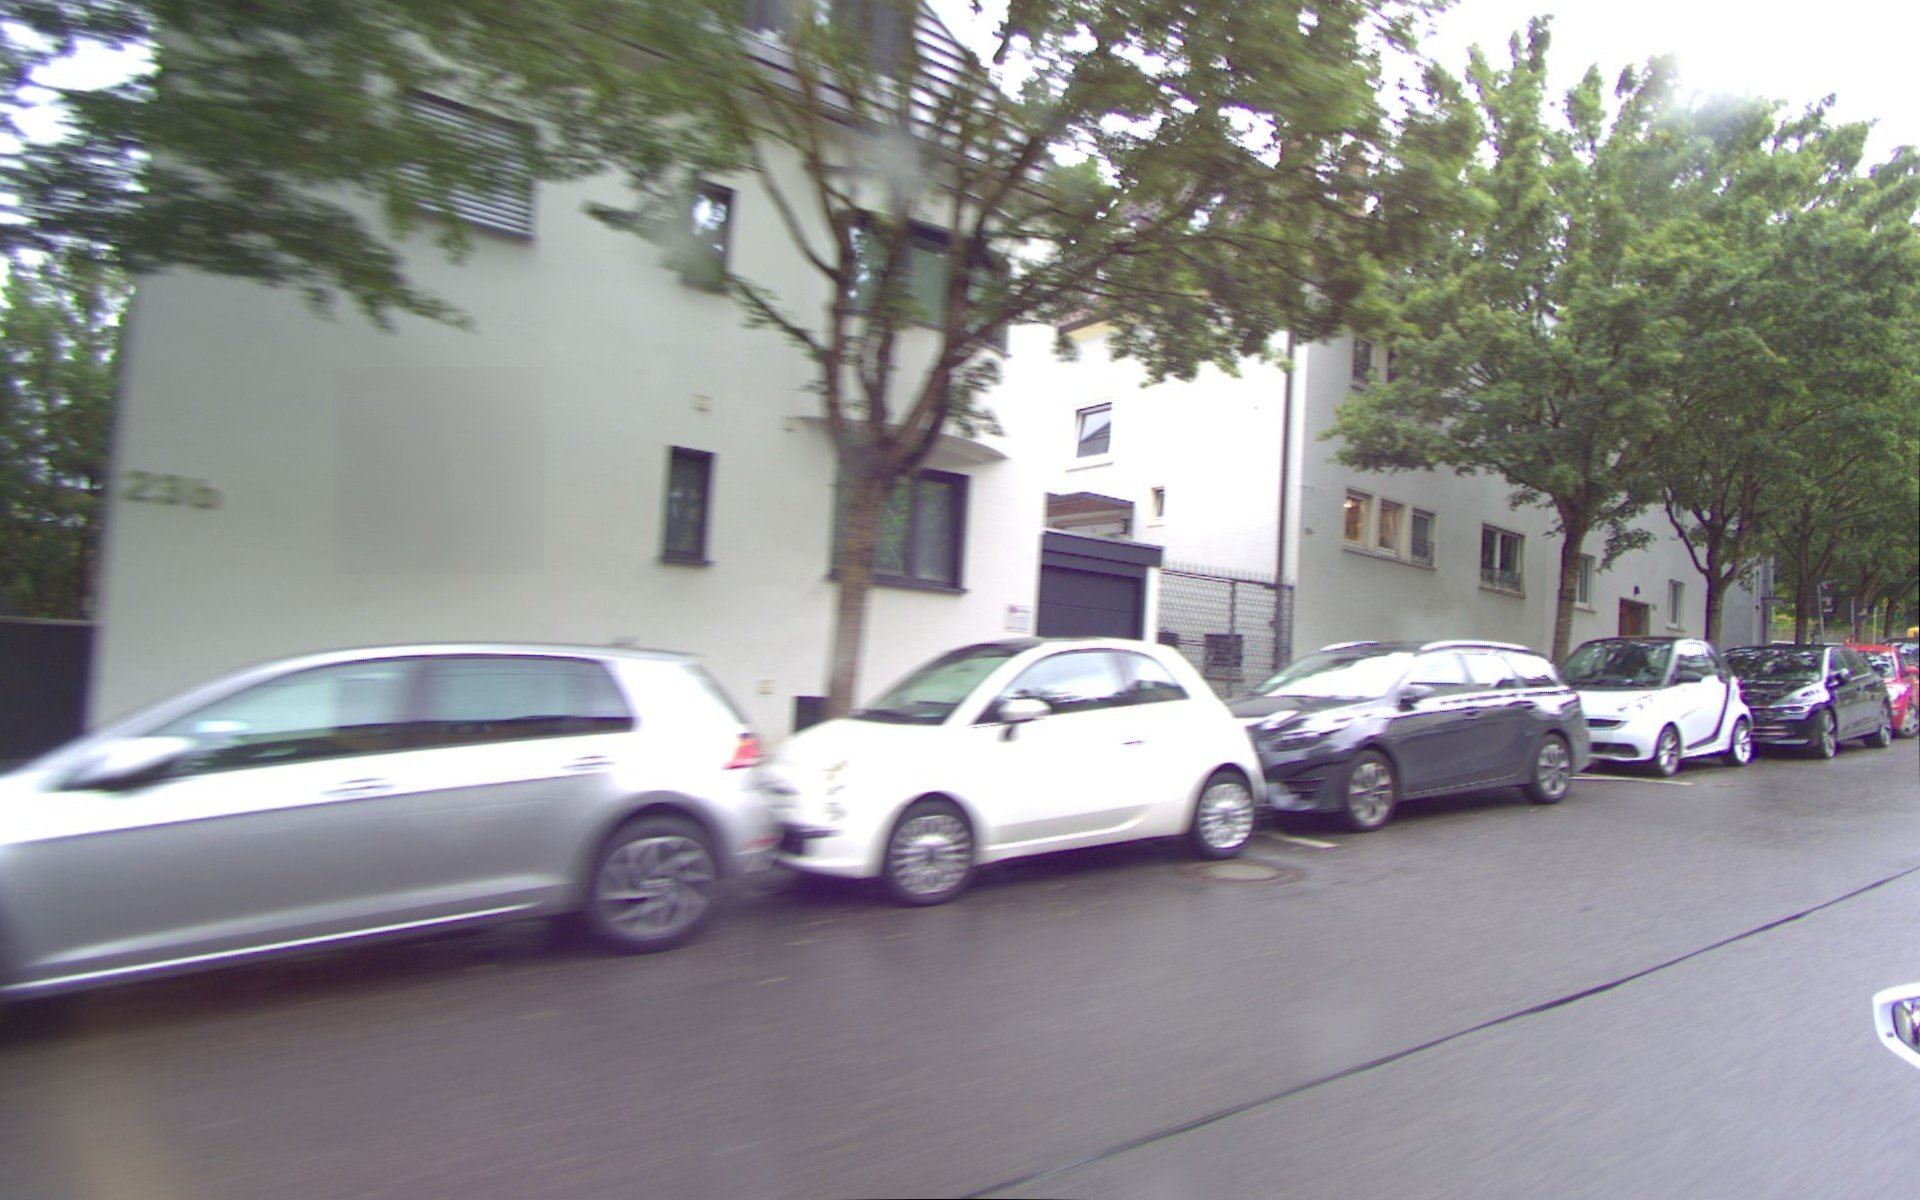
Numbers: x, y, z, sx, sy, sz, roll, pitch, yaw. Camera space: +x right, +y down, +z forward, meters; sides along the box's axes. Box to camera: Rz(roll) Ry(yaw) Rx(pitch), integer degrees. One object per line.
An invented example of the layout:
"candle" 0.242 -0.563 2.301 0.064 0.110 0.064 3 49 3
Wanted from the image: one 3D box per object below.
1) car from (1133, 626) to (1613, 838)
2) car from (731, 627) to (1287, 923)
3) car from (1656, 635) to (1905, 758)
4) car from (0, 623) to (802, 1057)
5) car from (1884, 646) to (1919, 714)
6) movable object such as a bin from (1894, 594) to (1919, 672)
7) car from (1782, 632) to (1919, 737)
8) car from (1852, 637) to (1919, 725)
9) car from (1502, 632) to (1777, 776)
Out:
"car" 3.807 1.089 9.044 4.424 1.507 1.657 2 -6 -31
"car" 0.378 0.989 6.749 3.430 1.507 1.567 1 -5 -32
"car" 11.577 1.328 14.104 4.056 1.507 1.546 3 -6 -34
"car" -2.875 0.926 4.698 3.927 1.489 1.610 3 -6 -31
"car" 23.322 1.825 23.627 4.278 1.528 1.669 2 -5 -39
"movable object such as a bin" 50.873 1.706 50.692 2.773 4.067 7.327 1 -1 19
"car" 15.398 1.444 17.113 3.823 1.584 1.618 4 -7 -44
"car" 19.715 1.568 20.324 4.538 1.628 1.670 2 -7 -39
"car" 8.340 1.230 12.295 3.347 1.530 1.547 3 -5 -33
